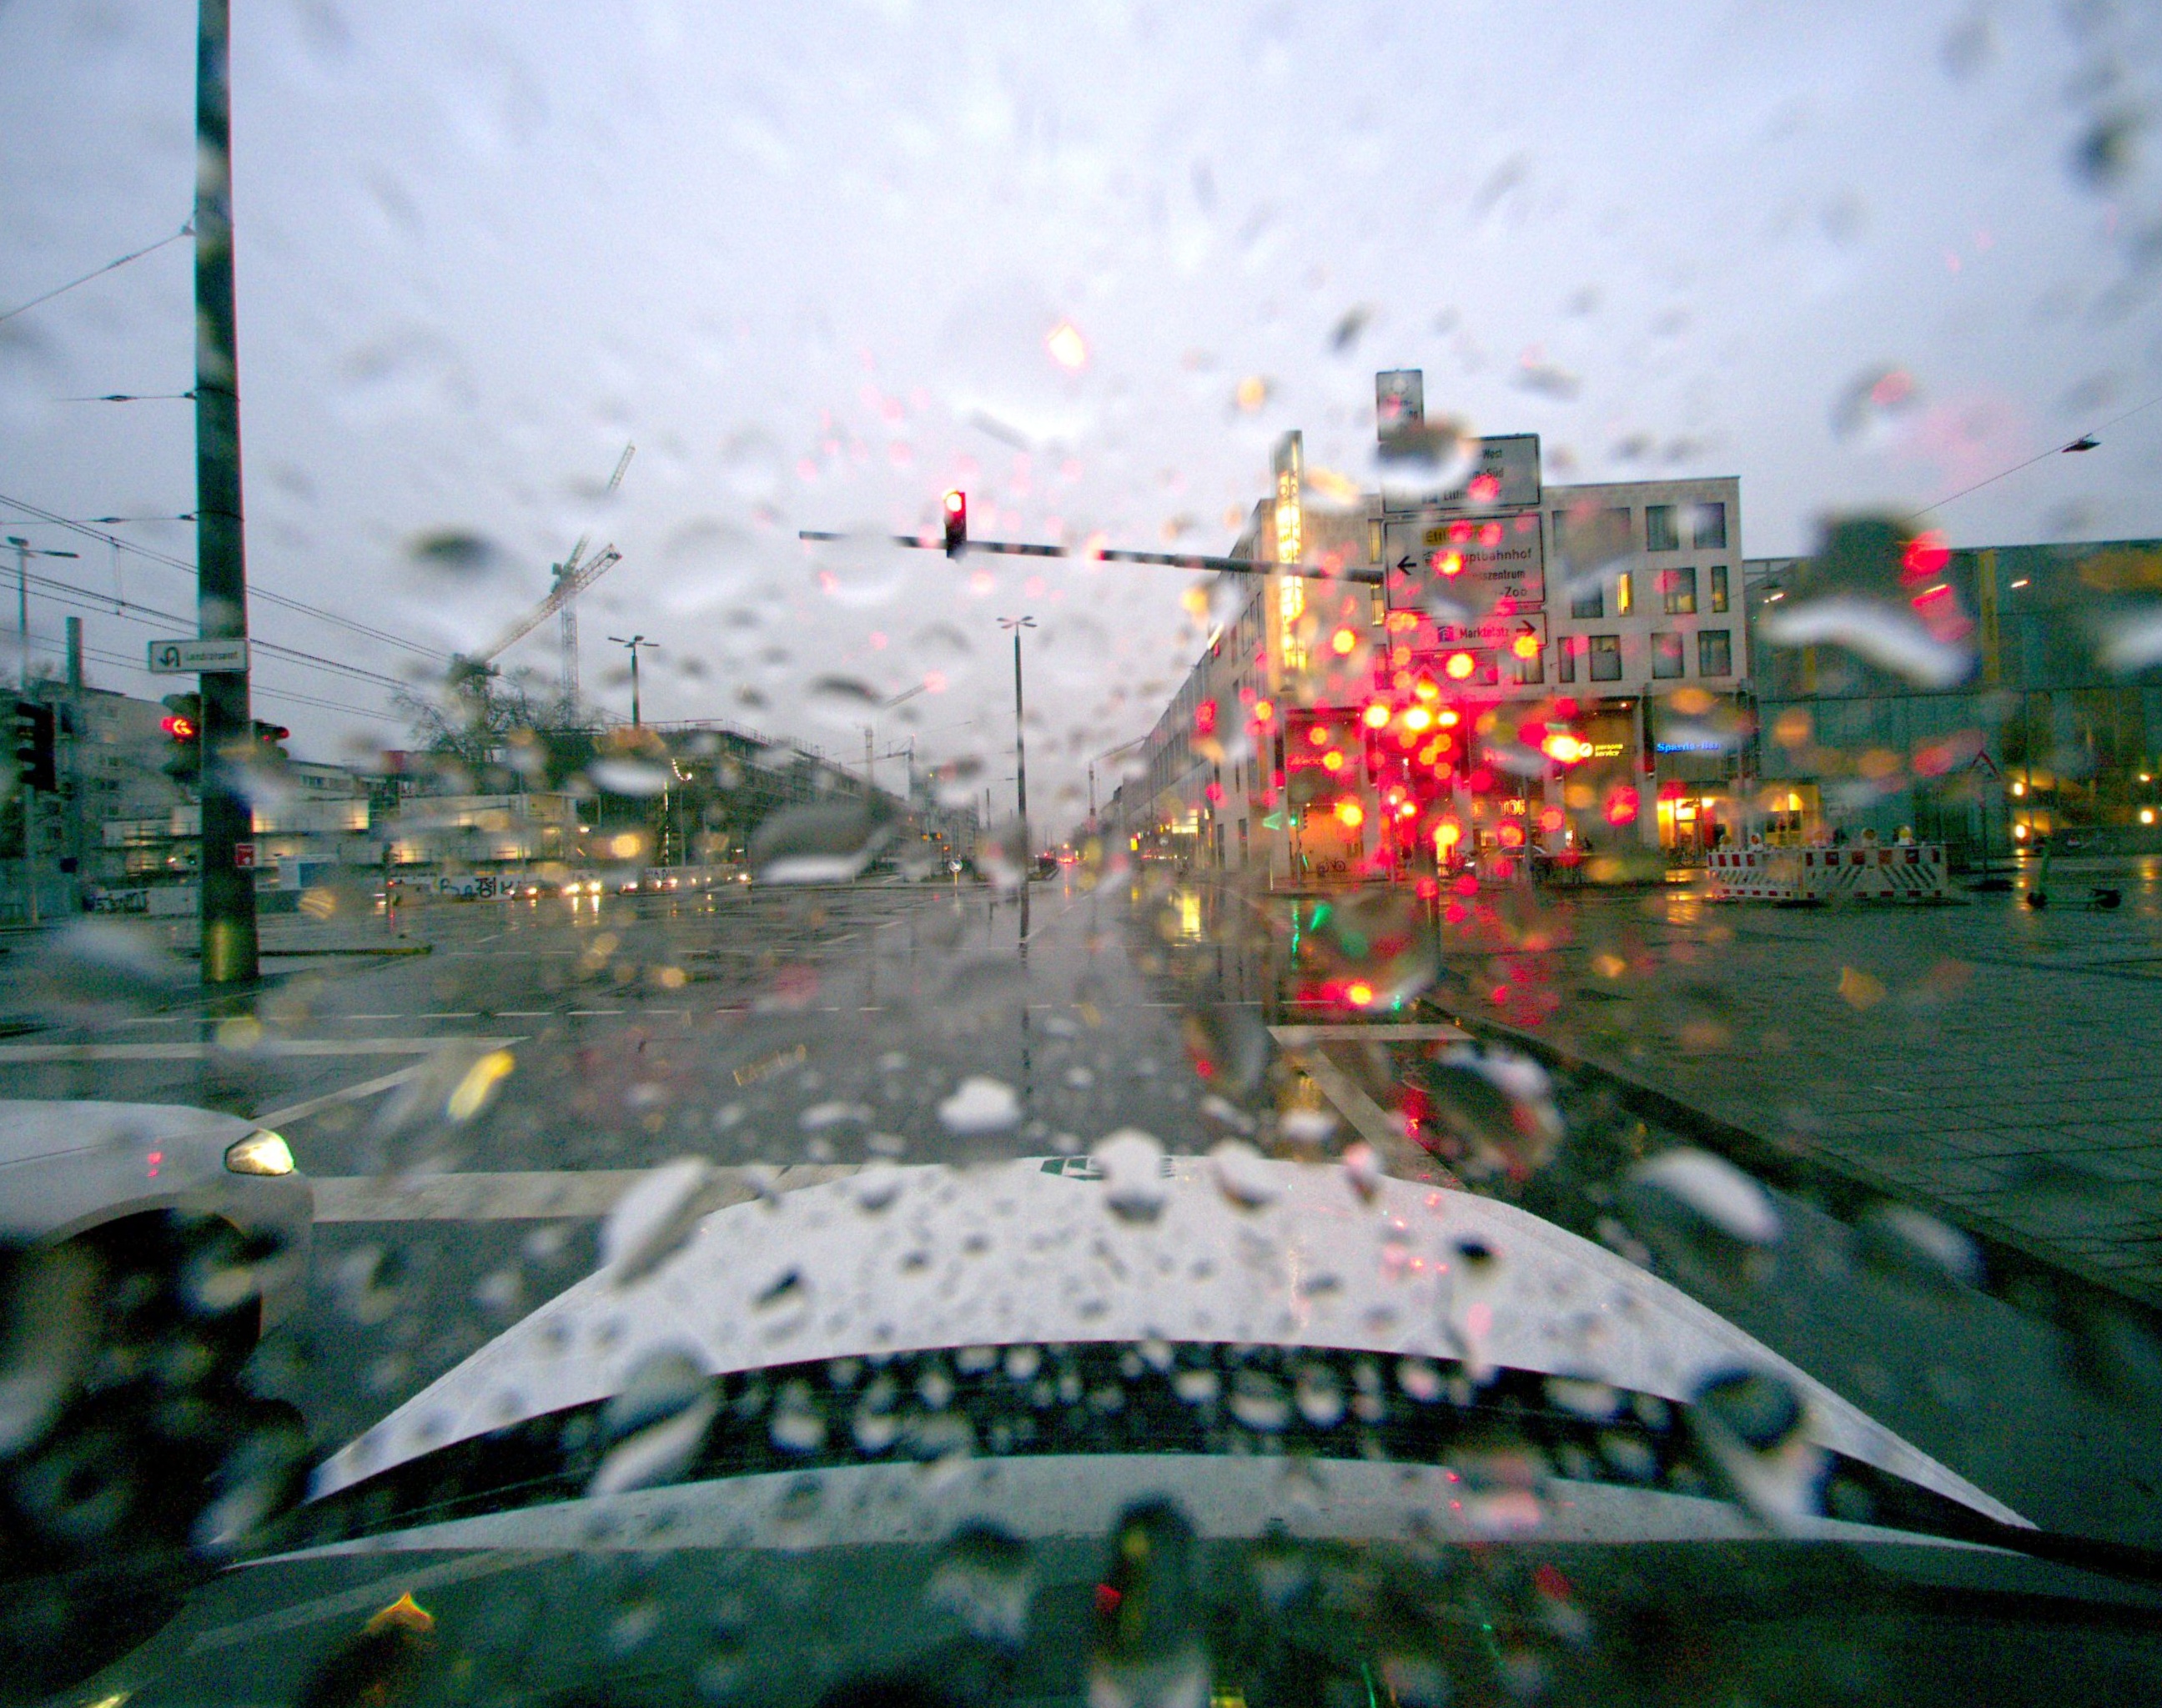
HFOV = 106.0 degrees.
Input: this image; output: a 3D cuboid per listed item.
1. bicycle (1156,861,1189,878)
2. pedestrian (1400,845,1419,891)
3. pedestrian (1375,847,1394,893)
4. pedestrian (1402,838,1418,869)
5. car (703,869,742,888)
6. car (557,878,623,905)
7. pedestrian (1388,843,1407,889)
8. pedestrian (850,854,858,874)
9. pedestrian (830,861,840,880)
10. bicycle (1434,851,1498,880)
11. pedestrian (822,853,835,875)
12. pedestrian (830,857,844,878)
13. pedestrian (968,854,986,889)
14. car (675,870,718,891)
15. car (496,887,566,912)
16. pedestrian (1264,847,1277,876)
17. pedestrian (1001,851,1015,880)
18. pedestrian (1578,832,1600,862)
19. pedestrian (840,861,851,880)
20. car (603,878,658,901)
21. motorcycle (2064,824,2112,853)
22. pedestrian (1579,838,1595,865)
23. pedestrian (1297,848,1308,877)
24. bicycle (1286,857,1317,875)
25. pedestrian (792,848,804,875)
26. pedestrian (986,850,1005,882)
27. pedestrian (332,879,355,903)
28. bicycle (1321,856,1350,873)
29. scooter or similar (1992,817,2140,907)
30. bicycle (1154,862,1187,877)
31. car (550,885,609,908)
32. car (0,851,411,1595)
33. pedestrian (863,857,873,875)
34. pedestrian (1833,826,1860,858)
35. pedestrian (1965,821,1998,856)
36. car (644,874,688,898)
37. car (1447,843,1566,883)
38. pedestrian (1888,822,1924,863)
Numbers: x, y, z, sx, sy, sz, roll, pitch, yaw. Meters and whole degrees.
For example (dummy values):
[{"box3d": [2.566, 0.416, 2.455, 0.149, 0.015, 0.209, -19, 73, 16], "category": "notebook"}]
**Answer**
[{"box3d": [6.901, 1.162, 61.605, 2.434, 1.154, 0.674, -2, -1, 0], "category": "bicycle"}, {"box3d": [17.670, 0.761, 43.829, 0.691, 2.448, 0.792, 0, -1, 1], "category": "pedestrian"}, {"box3d": [16.104, 0.849, 43.204, 0.712, 2.441, 0.758, 0, -1, 1], "category": "pedestrian"}, {"box3d": [21.775, -0.010, 53.901, 0.841, 2.013, 0.700, -2, 0, 10], "category": "pedestrian"}, {"box3d": [-35.240, 2.418, 80.118, 1.986, 1.790, 4.001, 0, -1, 1], "category": "car"}, {"box3d": [-33.773, 2.557, 56.193, 1.986, 1.657, 4.001, -2, 0, 2], "category": "car"}, {"box3d": [16.863, 0.619, 43.423, 0.687, 2.441, 0.758, 0, -1, 1], "category": "pedestrian"}, {"box3d": [-22.734, 1.019, 81.533, 0.569, 1.968, 0.664, 1, -1, -4], "category": "pedestrian"}, {"box3d": [-23.530, 1.572, 77.907, 0.696, 1.881, 0.553, 0, -1, 1], "category": "pedestrian"}, {"box3d": [19.250, 0.582, 40.781, 2.705, 1.359, 0.957, -2, -1, -2], "category": "bicycle"}, {"box3d": [-23.794, 0.932, 76.796, 0.939, 2.014, 1.093, 0, -1, -1], "category": "pedestrian"}, {"box3d": [-23.627, 1.269, 78.864, 0.939, 2.014, 1.093, 0, -1, -1], "category": "pedestrian"}, {"box3d": [-6.107, 1.032, 47.685, 0.776, 2.014, 0.732, -1, -1, 44], "category": "pedestrian"}, {"box3d": [-35.173, 2.372, 74.564, 1.986, 1.790, 4.001, 0, -1, 1], "category": "car"}, {"box3d": [-38.333, 3.142, 56.886, 1.986, 1.530, 4.001, -2, 0, 2], "category": "car"}, {"box3d": [11.427, 0.459, 49.125, 0.634, 1.709, 0.574, -2, -1, 1], "category": "pedestrian"}, {"box3d": [-4.320, 0.688, 48.276, 0.605, 1.686, 0.581, -1, -1, 44], "category": "pedestrian"}, {"box3d": [29.370, -0.399, 47.090, 0.890, 1.684, 0.528, -2, -1, 1], "category": "pedestrian"}, {"box3d": [-23.177, 1.647, 80.183, 0.762, 1.898, 0.763, 0, -2, 1], "category": "pedestrian"}, {"box3d": [-34.280, 2.644, 62.069, 2.074, 1.530, 4.603, -2, 0, -8], "category": "car"}, {"box3d": [48.193, -0.752, 38.990, 1.482, 1.352, 0.595, 0, 0, 5], "category": "motorcycle"}, {"box3d": [28.315, -0.150, 45.576, 0.583, 1.494, 0.520, -1, -1, 4], "category": "pedestrian"}, {"box3d": [13.598, 0.511, 49.945, 0.596, 1.745, 0.526, -1, -1, 10], "category": "pedestrian"}, {"box3d": [13.653, 0.741, 50.504, 1.765, 1.070, 0.523, 0, -1, -7], "category": "bicycle"}, {"box3d": [-24.159, 0.670, 69.553, 0.762, 2.323, 0.763, 0, -2, 1], "category": "pedestrian"}, {"box3d": [-4.908, 0.670, 46.783, 0.826, 1.831, 0.778, 0, -1, -29], "category": "pedestrian"}, {"box3d": [-44.288, 2.217, 48.908, 0.725, 1.388, 0.725, 0, -1, 3], "category": "pedestrian"}, {"box3d": [15.780, 0.658, 50.593, 1.642, 1.070, 0.524, 0, -1, -2], "category": "bicycle"}, {"box3d": [15.683, 0.122, 13.020, 0.590, 1.352, 1.495, 0, 0, 2], "category": "scooter or similar"}, {"box3d": [6.884, 1.175, 62.372, 2.417, 1.099, 0.712, -2, -1, 0], "category": "bicycle"}, {"box3d": [-38.957, 3.298, 63.383, 1.986, 1.530, 4.001, -2, 0, 2], "category": "car"}, {"box3d": [-3.214, 0.768, 0.326, 2.010, 1.487, 4.561, -2, 0, 1], "category": "car"}, {"box3d": [-24.067, 1.381, 92.174, 0.941, 2.014, 1.091, 0, -1, -7], "category": "pedestrian"}, {"box3d": [40.543, -0.610, 43.136, 0.737, 1.684, 0.783, 0, -1, 8], "category": "pedestrian"}, {"box3d": [44.058, -0.729, 39.871, 0.737, 1.684, 0.783, 0, -1, 8], "category": "pedestrian"}, {"box3d": [-34.807, 2.645, 68.404, 1.862, 1.828, 3.993, 0, -1, -5], "category": "car"}, {"box3d": [17.956, 0.370, 34.516, 3.970, 1.618, 2.001, 0, -1, 3], "category": "car"}, {"box3d": [35.124, -0.483, 34.669, 0.737, 1.684, 0.783, 0, -1, 8], "category": "pedestrian"}]
